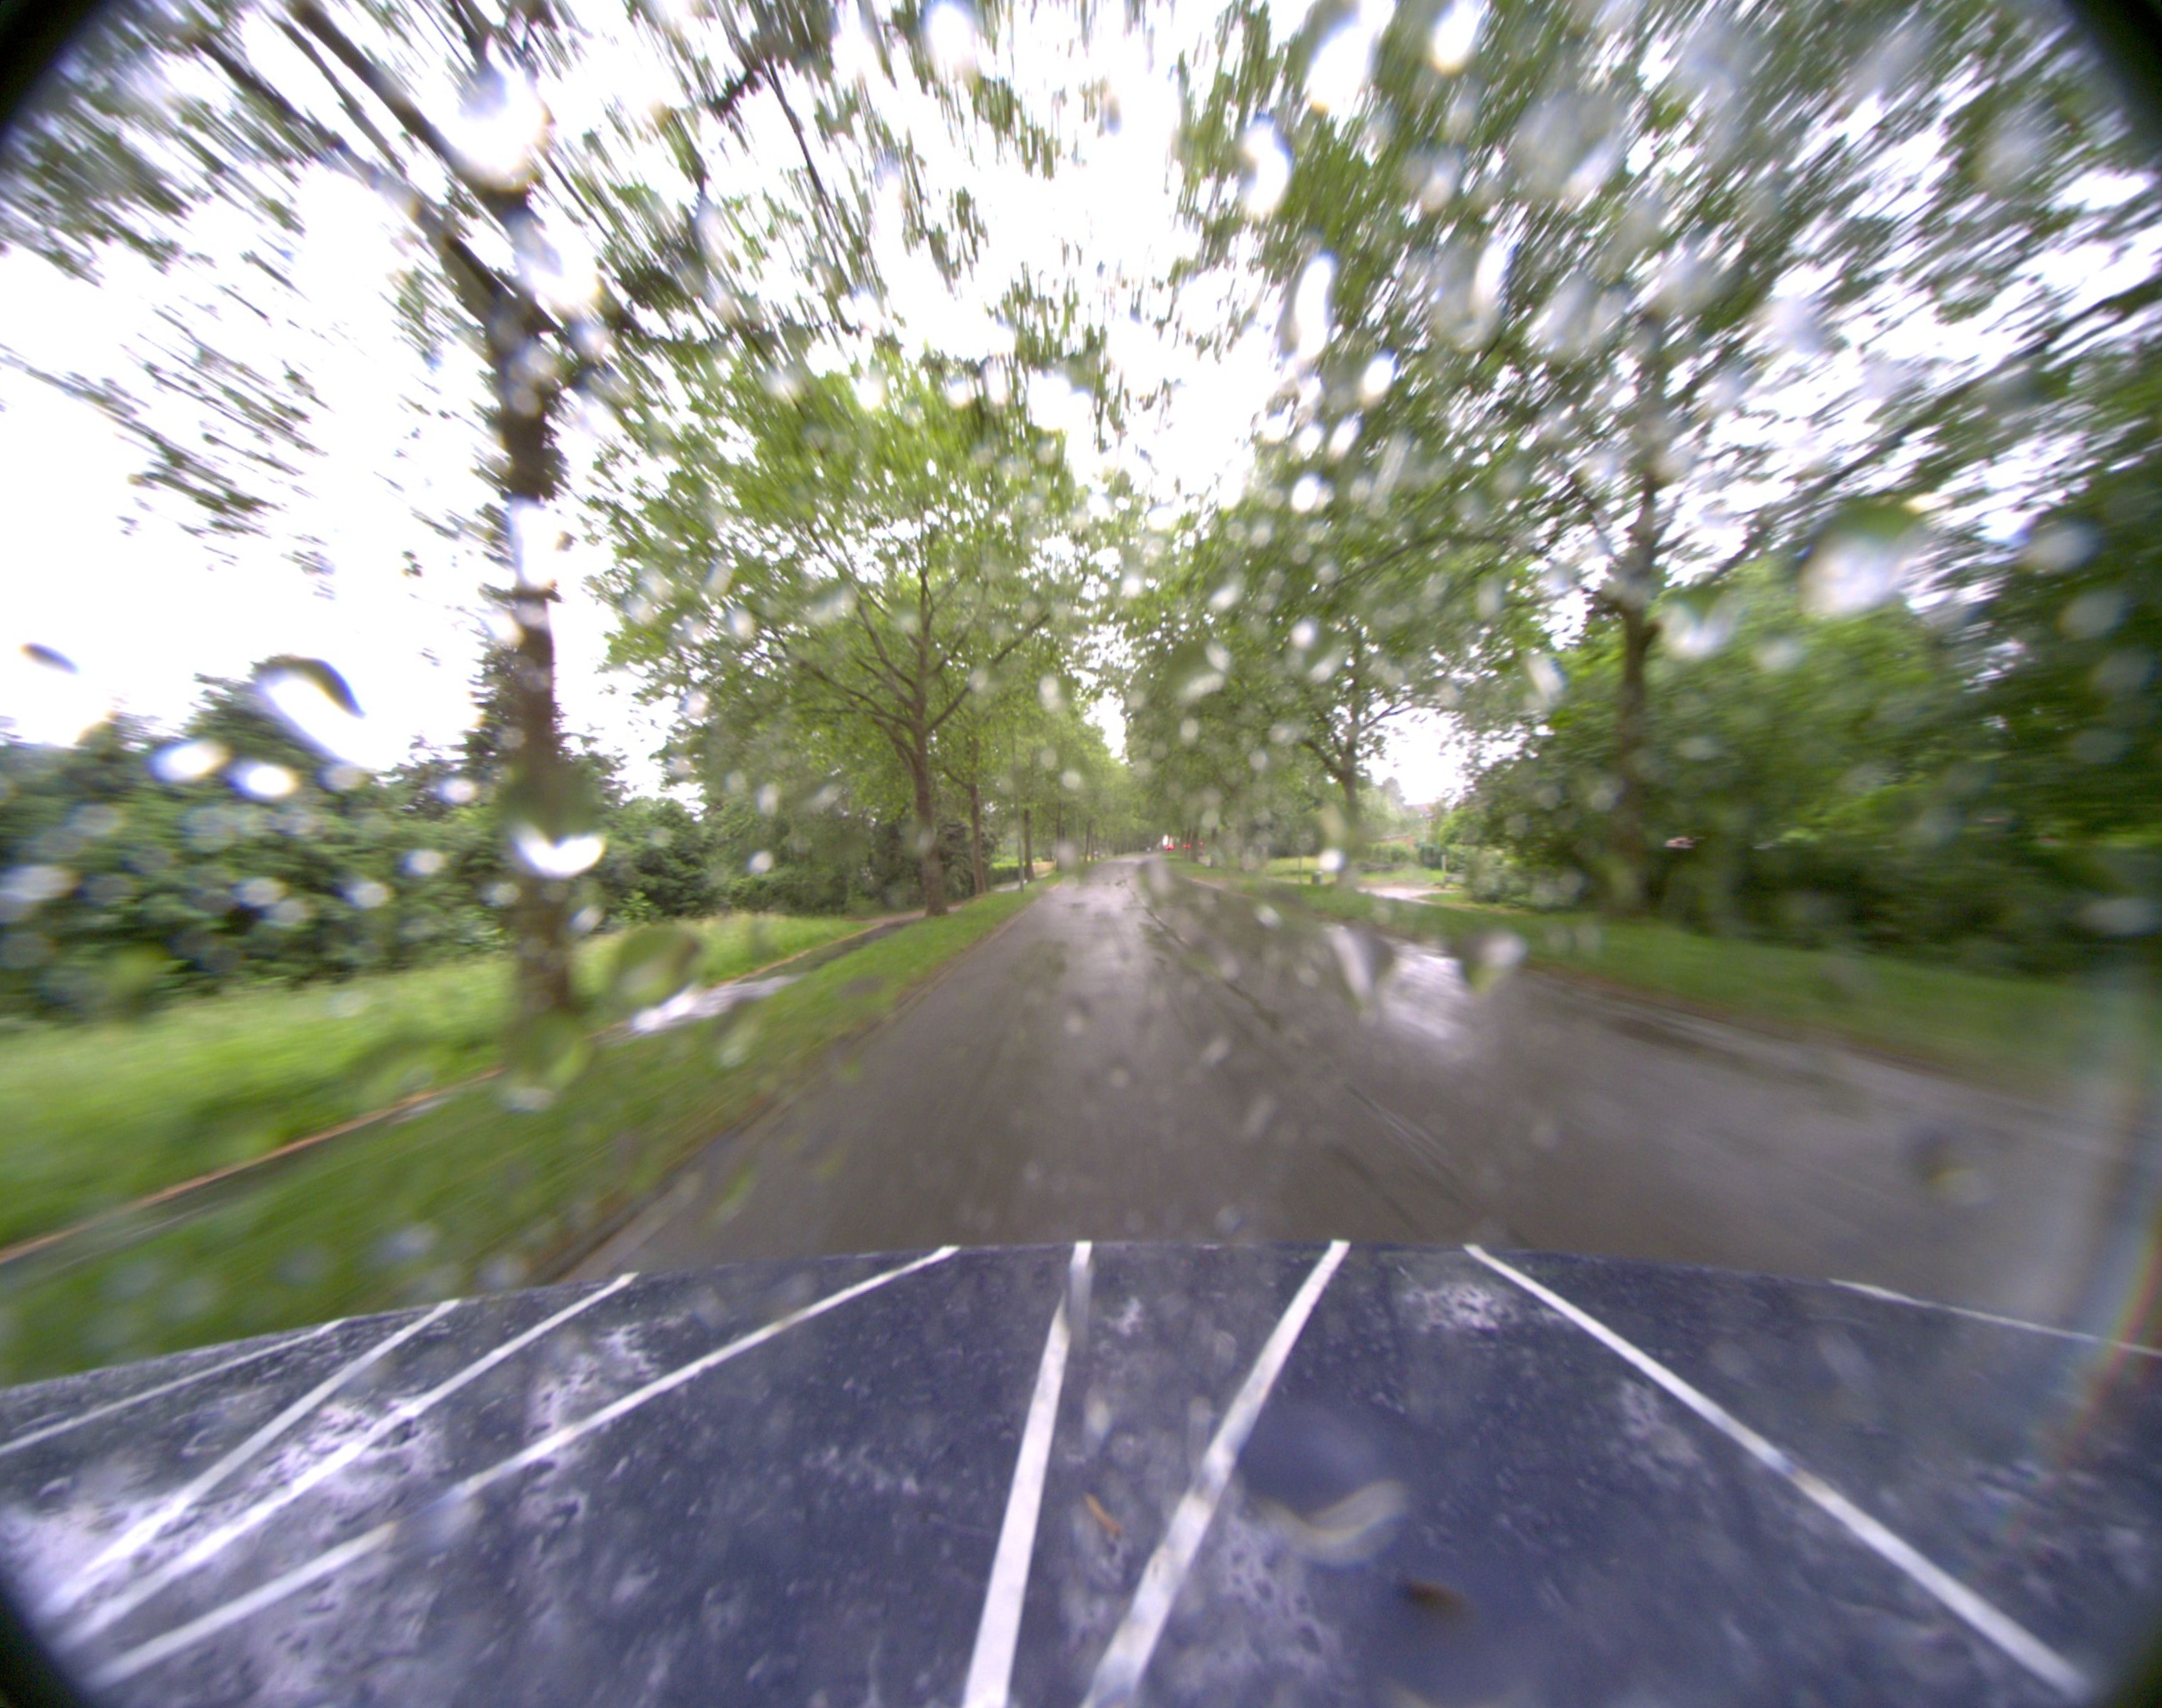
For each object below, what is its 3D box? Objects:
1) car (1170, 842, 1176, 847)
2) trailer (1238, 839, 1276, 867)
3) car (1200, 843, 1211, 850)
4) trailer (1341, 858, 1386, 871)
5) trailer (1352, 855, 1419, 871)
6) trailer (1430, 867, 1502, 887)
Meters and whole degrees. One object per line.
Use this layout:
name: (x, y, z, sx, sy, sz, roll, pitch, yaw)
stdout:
car: (26.824, -2.766, 222.115, 1.593, 1.445, 3.373, -2, 1, 4)
trailer: (17.831, -0.155, 77.512, 2.804, 2.648, 6.653, -2, 1, 5)
car: (30.344, -1.769, 185.339, 1.896, 1.672, 4.004, -1, 1, 18)
trailer: (23.281, 0.864, 62.653, 3.082, 0.939, 1.769, -2, 1, 4)
trailer: (23.727, 0.716, 59.347, 4.326, 1.026, 2.382, -2, 1, 2)
trailer: (20.540, 1.224, 40.618, 3.035, 0.833, 1.678, -2, 1, 6)
